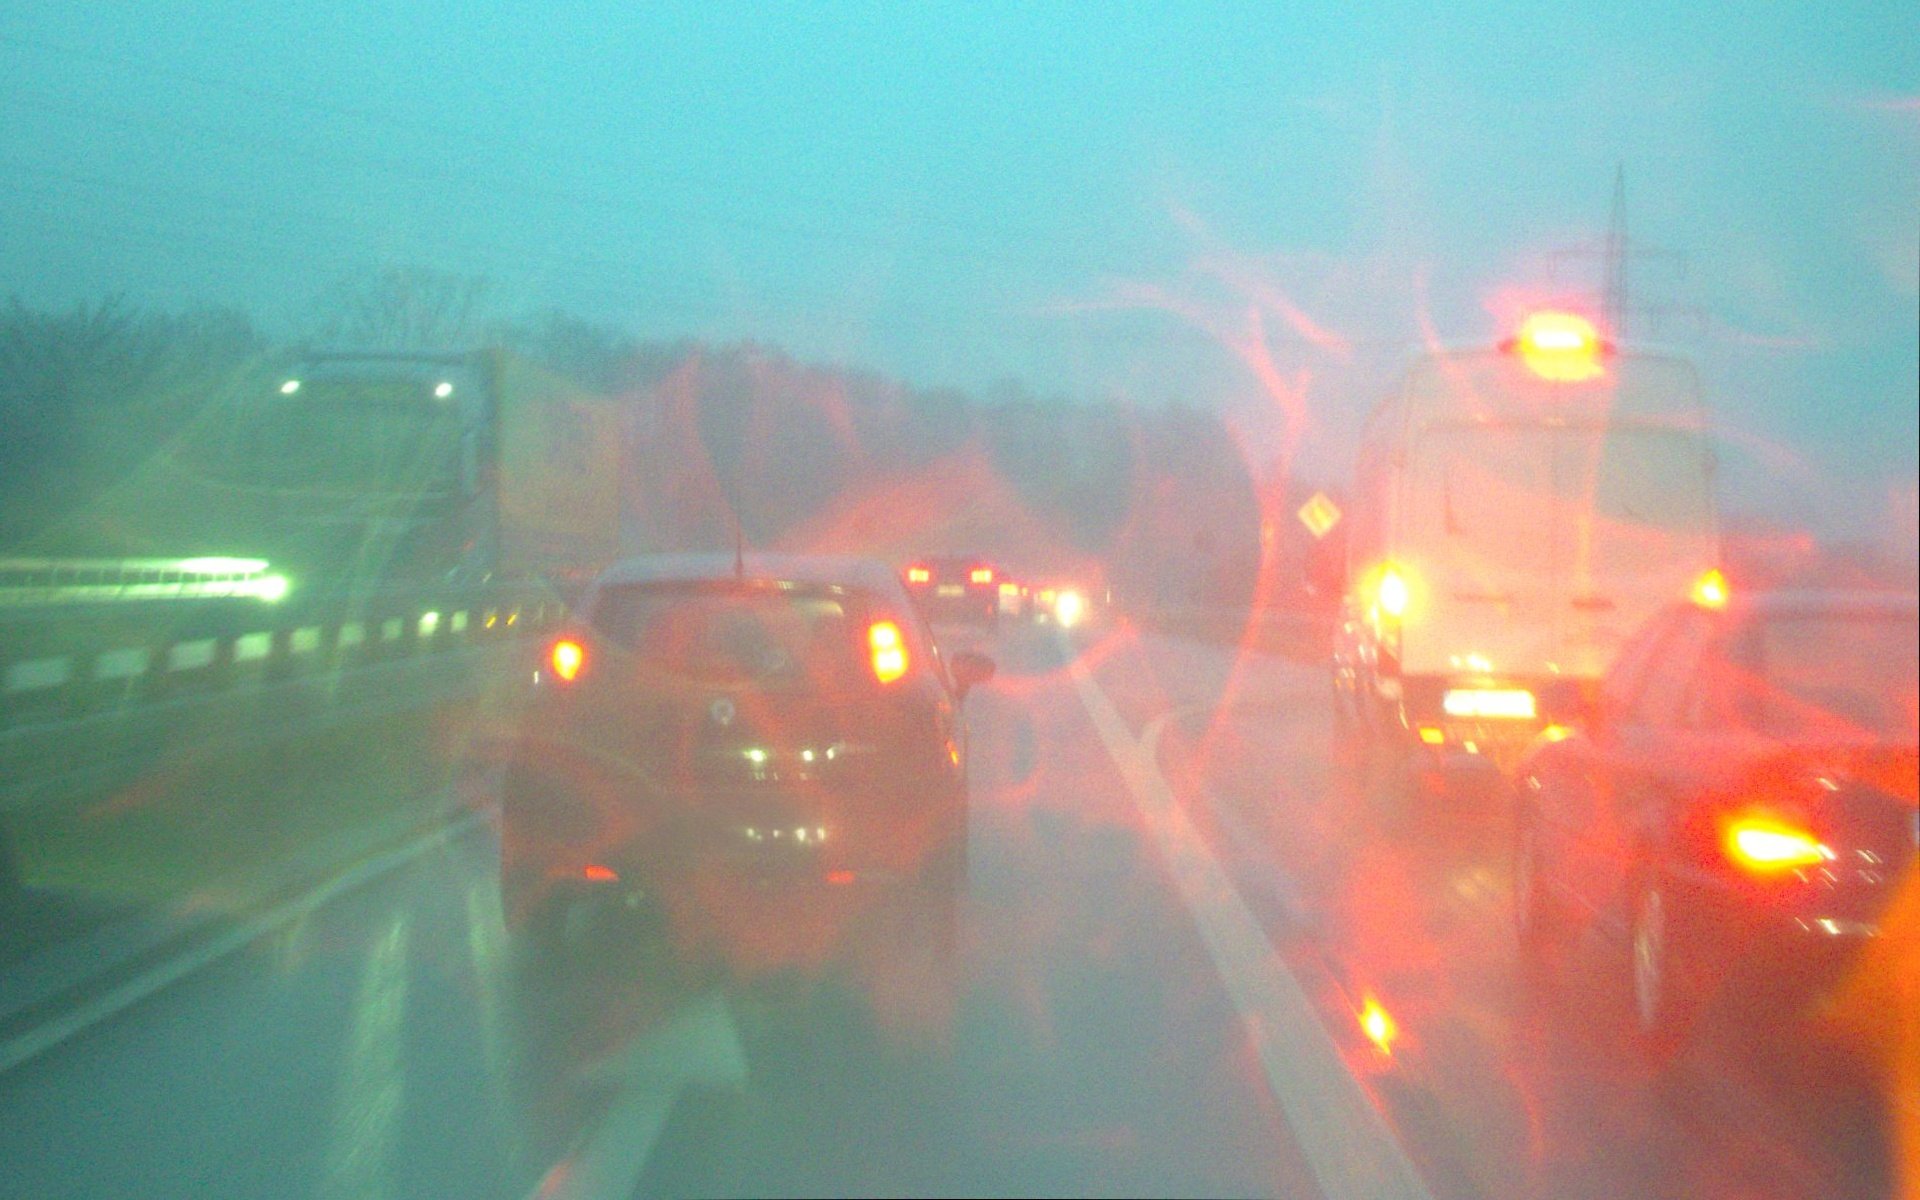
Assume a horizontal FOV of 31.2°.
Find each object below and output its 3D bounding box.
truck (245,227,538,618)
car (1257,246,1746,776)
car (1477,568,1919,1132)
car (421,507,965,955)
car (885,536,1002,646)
[{"bbox_3d":[-7.053,-2.112,43.458,2.595,4.564,6.358,0,1,0],"label":"truck"},{"bbox_3d":[3.297,-0.528,22.395,2.282,2.956,6.390,0,0,1],"label":"car"},{"bbox_3d":[2.800,0.641,11.214,1.736,1.409,4.377,-1,1,3],"label":"car"},{"bbox_3d":[-0.923,0.450,13.911,1.730,1.527,4.042,1,0,2],"label":"car"},{"bbox_3d":[-0.310,-0.196,63.424,1.993,1.808,4.000,3,2,-1],"label":"car"}]
